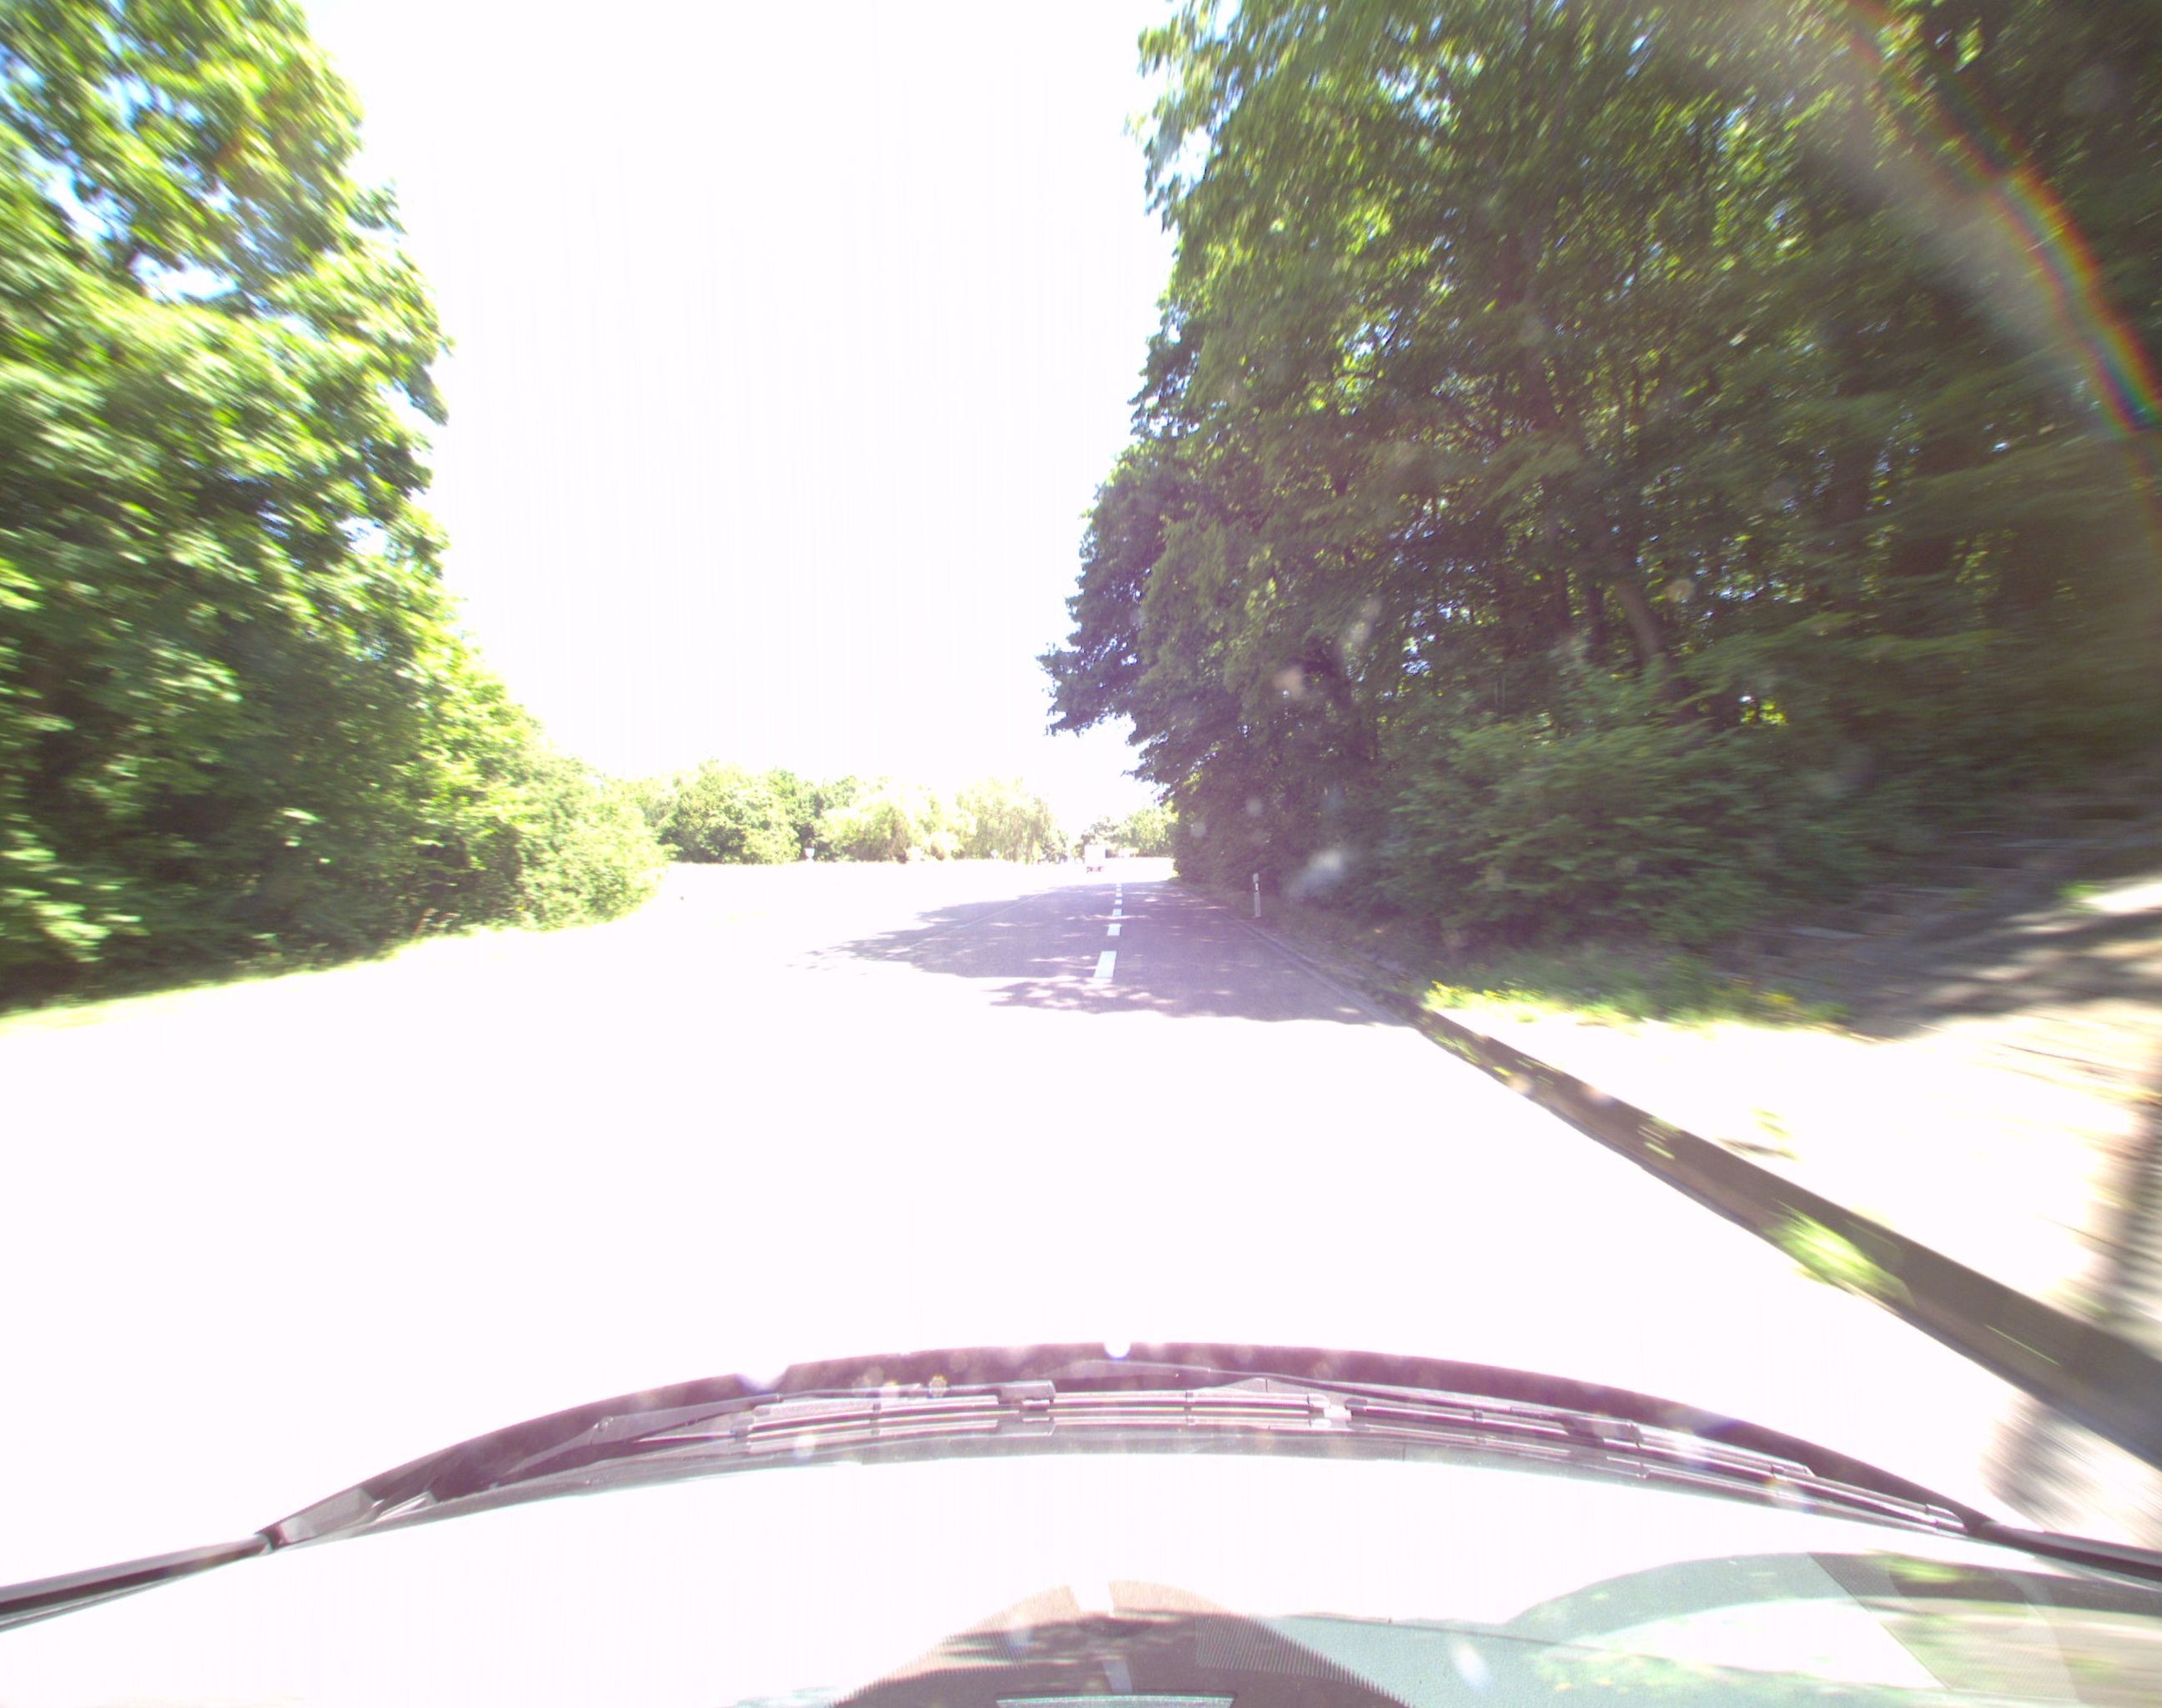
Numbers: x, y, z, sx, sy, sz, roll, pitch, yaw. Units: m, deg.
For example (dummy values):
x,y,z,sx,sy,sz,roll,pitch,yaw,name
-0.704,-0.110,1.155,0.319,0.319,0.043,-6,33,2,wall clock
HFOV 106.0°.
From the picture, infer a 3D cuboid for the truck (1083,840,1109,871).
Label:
x,y,z,sx,sy,sz,roll,pitch,yaw,name
1.635,0.180,86.181,2.524,3.135,5.363,-1,0,2,truck
